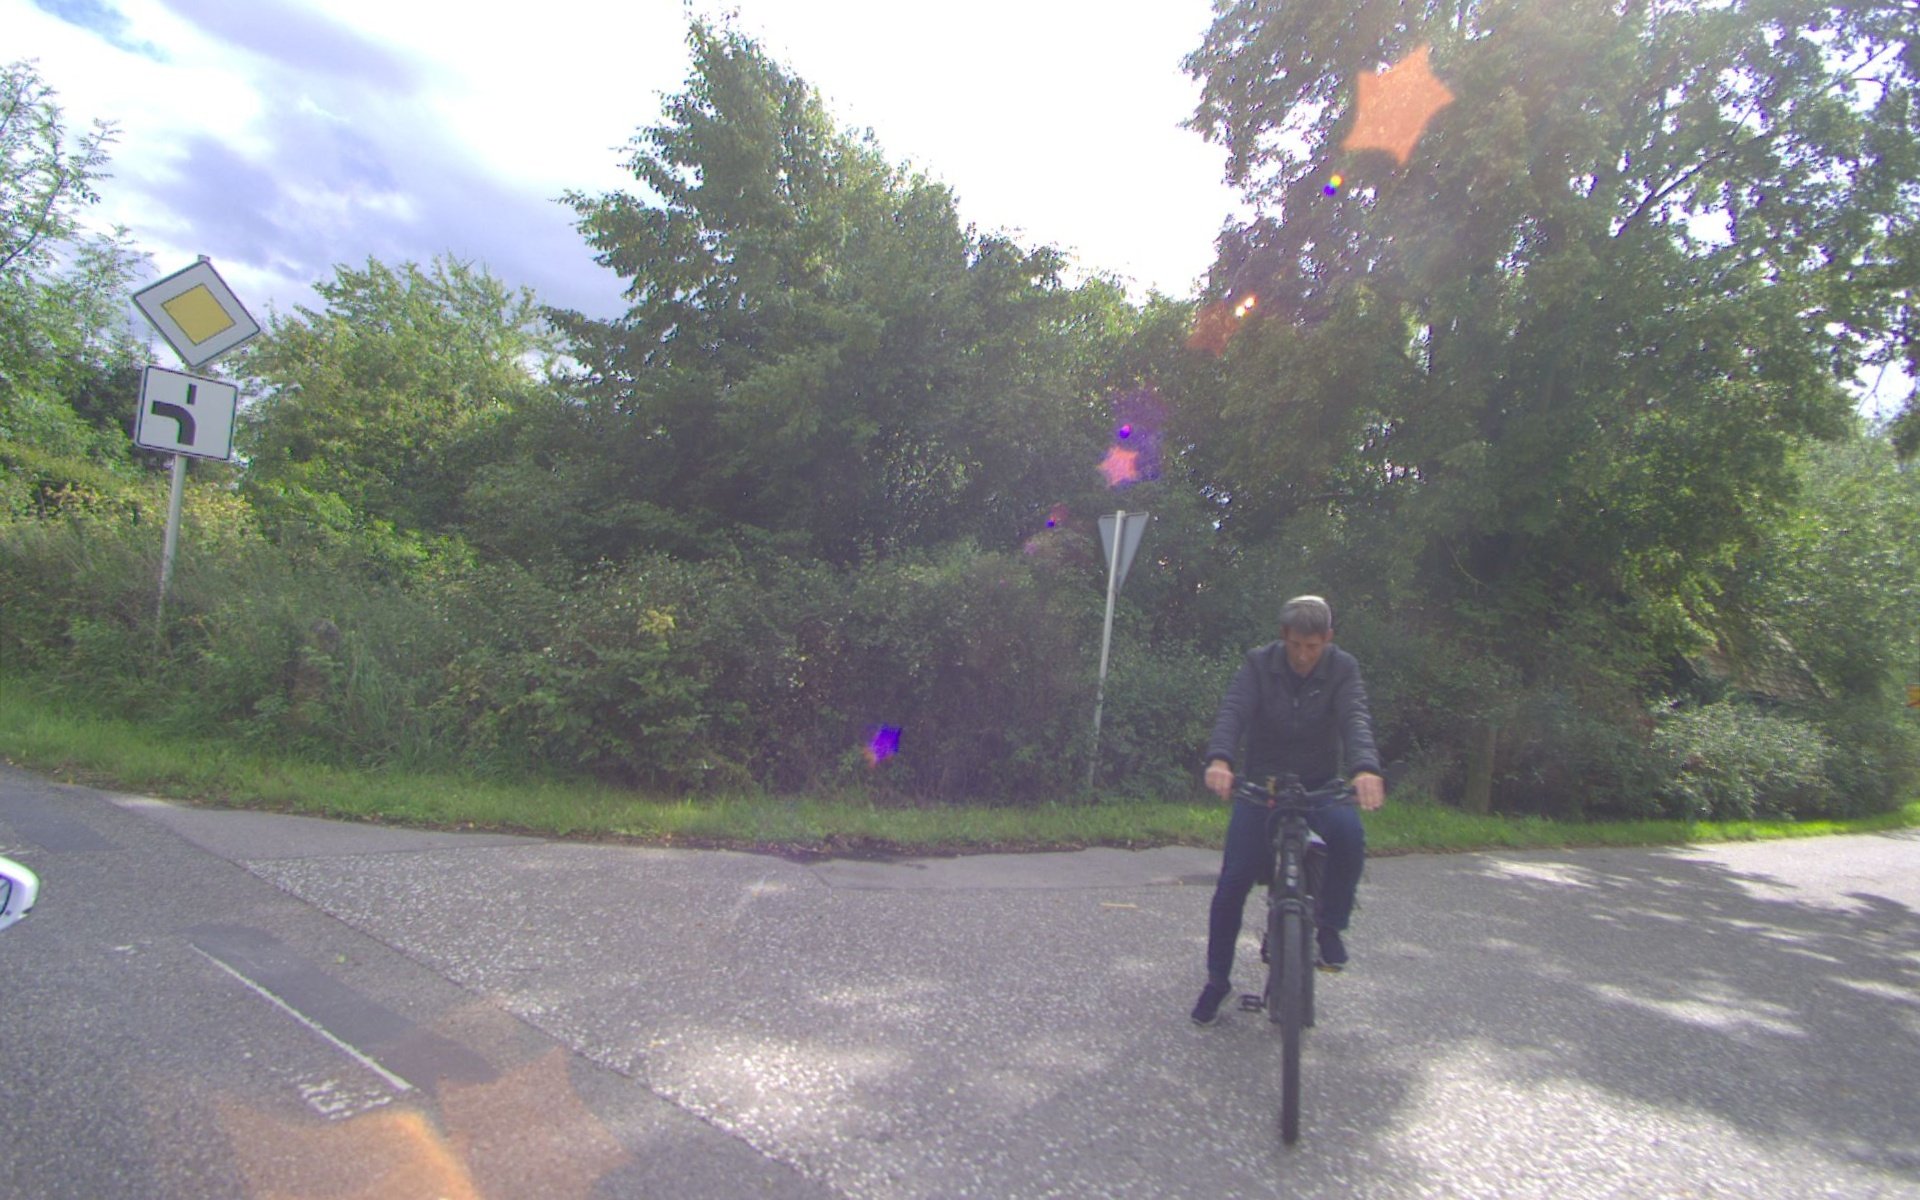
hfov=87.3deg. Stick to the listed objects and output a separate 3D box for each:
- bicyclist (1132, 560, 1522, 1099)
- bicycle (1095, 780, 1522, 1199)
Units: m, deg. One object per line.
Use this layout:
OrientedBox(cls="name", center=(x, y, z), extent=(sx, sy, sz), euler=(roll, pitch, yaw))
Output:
OrientedBox(cls="bicyclist", center=(1.349, 0.761, 3.835), extent=(1.034, 1.603, 1.021), euler=(7, -1, 18))
OrientedBox(cls="bicycle", center=(1.267, 1.315, 3.822), extent=(1.034, 0.874, 2.124), euler=(7, -2, 18))
